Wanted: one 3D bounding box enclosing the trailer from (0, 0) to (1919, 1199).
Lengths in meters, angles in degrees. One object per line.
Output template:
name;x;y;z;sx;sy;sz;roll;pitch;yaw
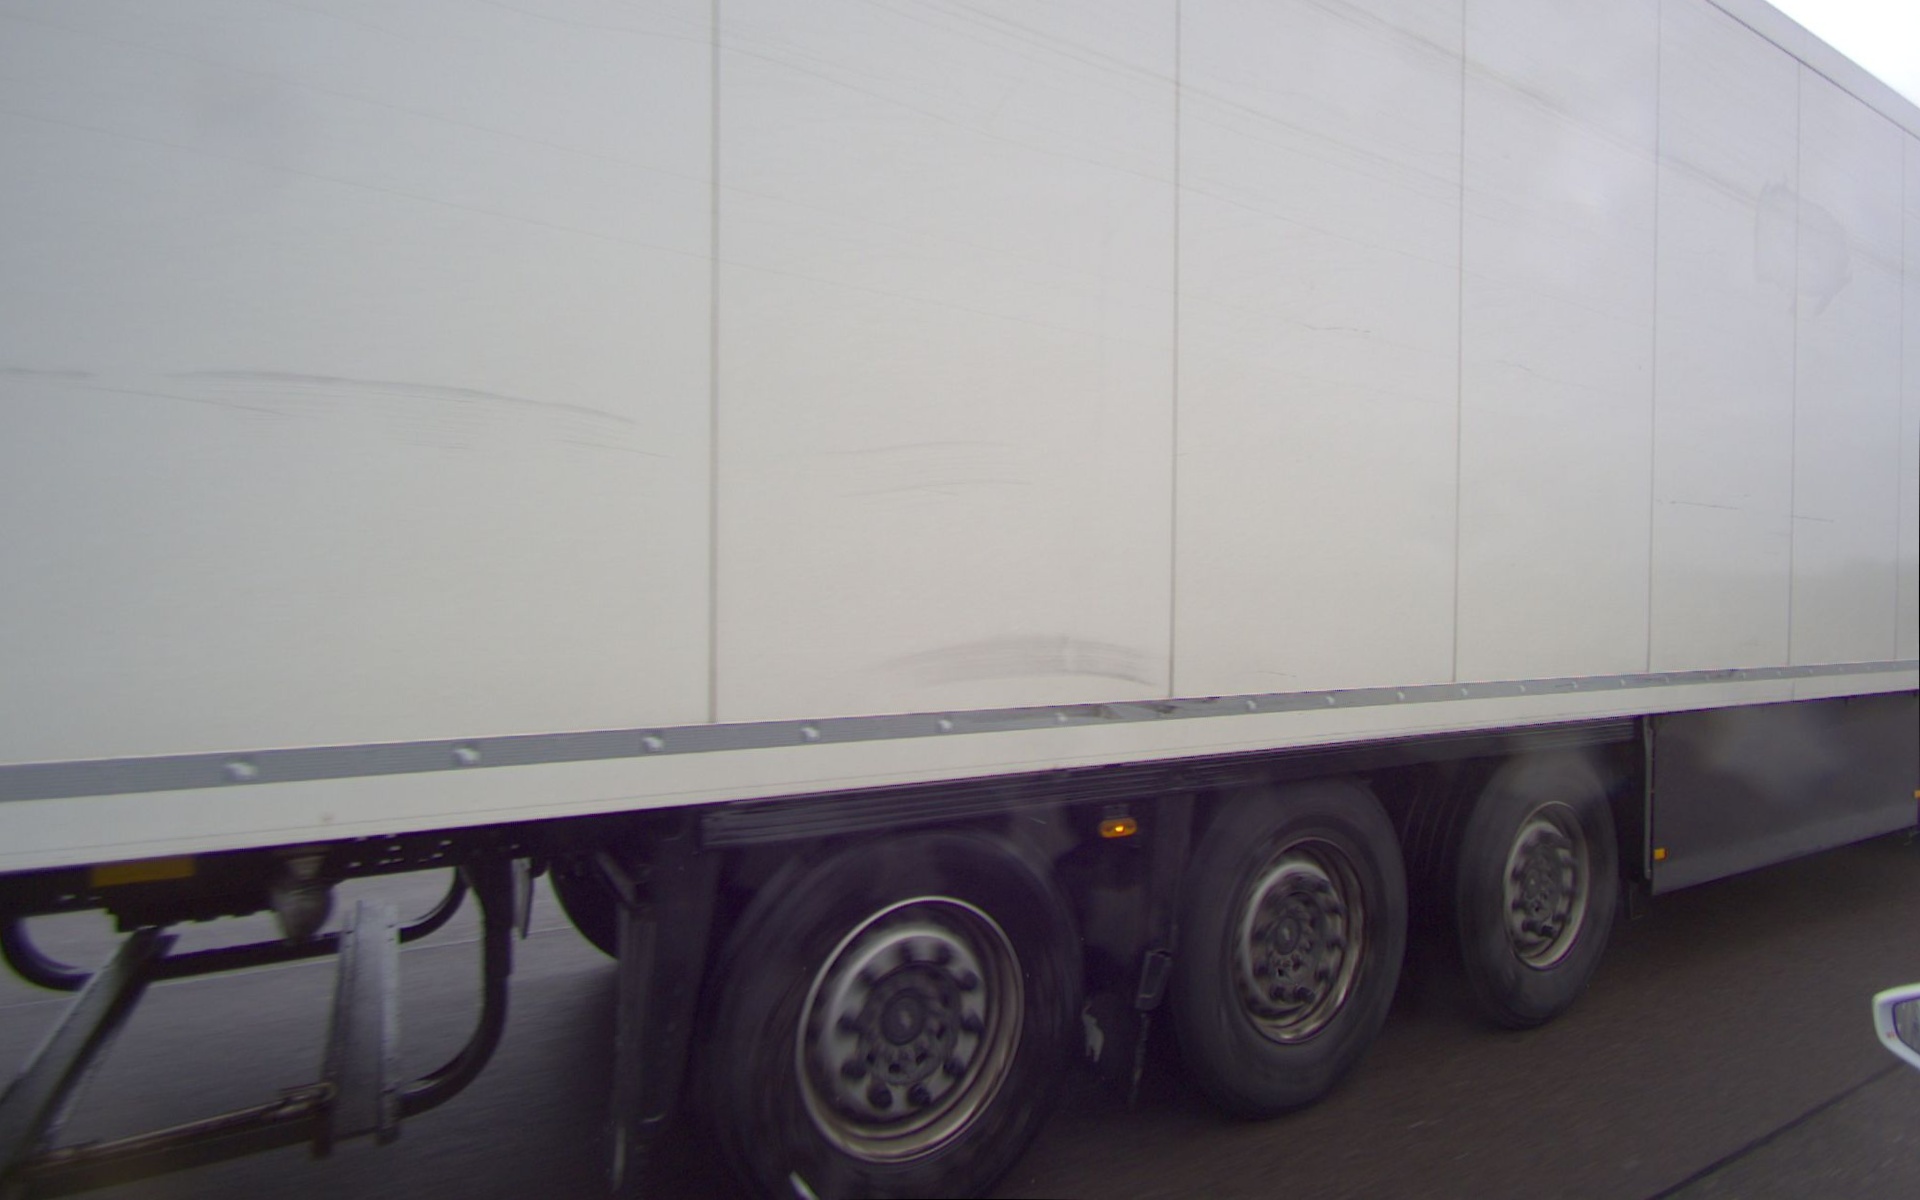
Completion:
trailer;2.619;-0.514;5.052;14.652;4.213;2.331;1;0;-30

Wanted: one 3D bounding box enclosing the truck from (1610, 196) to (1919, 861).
truck;8.461;-0.415;8.515;6.272;4.213;2.331;1;0;-30
